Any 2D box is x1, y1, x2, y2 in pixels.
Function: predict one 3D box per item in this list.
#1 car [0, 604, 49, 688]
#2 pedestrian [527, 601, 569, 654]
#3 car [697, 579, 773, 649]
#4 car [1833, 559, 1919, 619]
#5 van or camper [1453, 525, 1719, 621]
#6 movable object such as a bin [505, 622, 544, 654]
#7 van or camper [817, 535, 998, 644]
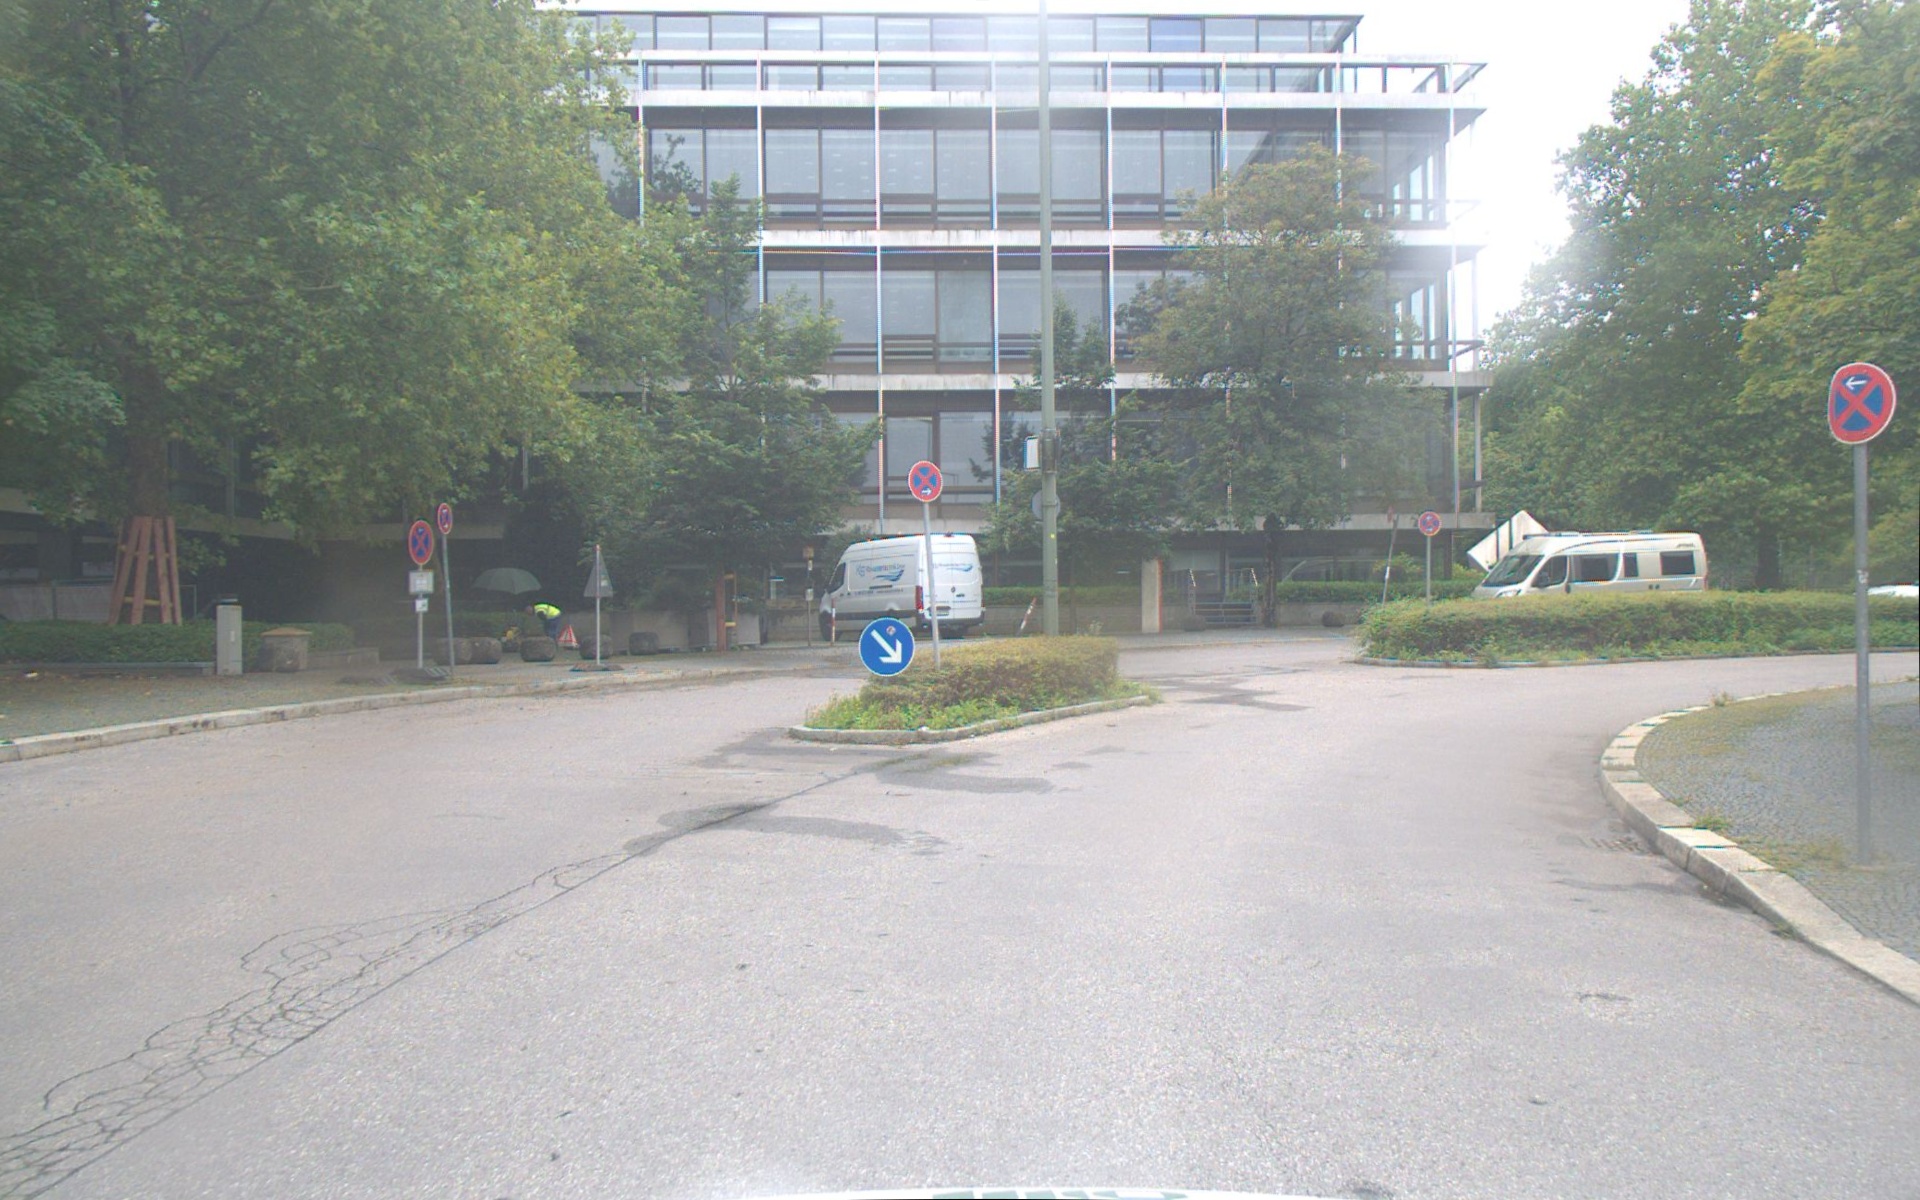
[{"bbox_3d":[-18.310,0.850,29.661,1.868,1.499,3.859,-1,0,-2],"label":"car"},{"bbox_3d":[-10.295,0.692,41.295,0.907,1.300,0.542,0,0,-1],"label":"pedestrian"},{"bbox_3d":[-6.019,0.344,44.513,1.904,1.751,4.232,-1,0,-7],"label":"car"},{"bbox_3d":[25.508,-0.314,43.617,3.906,1.534,1.999,-1,0,-2],"label":"car"},{"bbox_3d":[15.894,-0.695,42.032,6.297,2.321,2.244,-1,0,-17],"label":"van or camper"},{"bbox_3d":[-10.846,0.951,41.225,0.817,0.766,0.572,0,0,-1],"label":"movable object such as a bin"},{"bbox_3d":[-1.522,-0.196,43.972,2.132,2.626,6.477,0,-2,-28],"label":"van or camper"}]
